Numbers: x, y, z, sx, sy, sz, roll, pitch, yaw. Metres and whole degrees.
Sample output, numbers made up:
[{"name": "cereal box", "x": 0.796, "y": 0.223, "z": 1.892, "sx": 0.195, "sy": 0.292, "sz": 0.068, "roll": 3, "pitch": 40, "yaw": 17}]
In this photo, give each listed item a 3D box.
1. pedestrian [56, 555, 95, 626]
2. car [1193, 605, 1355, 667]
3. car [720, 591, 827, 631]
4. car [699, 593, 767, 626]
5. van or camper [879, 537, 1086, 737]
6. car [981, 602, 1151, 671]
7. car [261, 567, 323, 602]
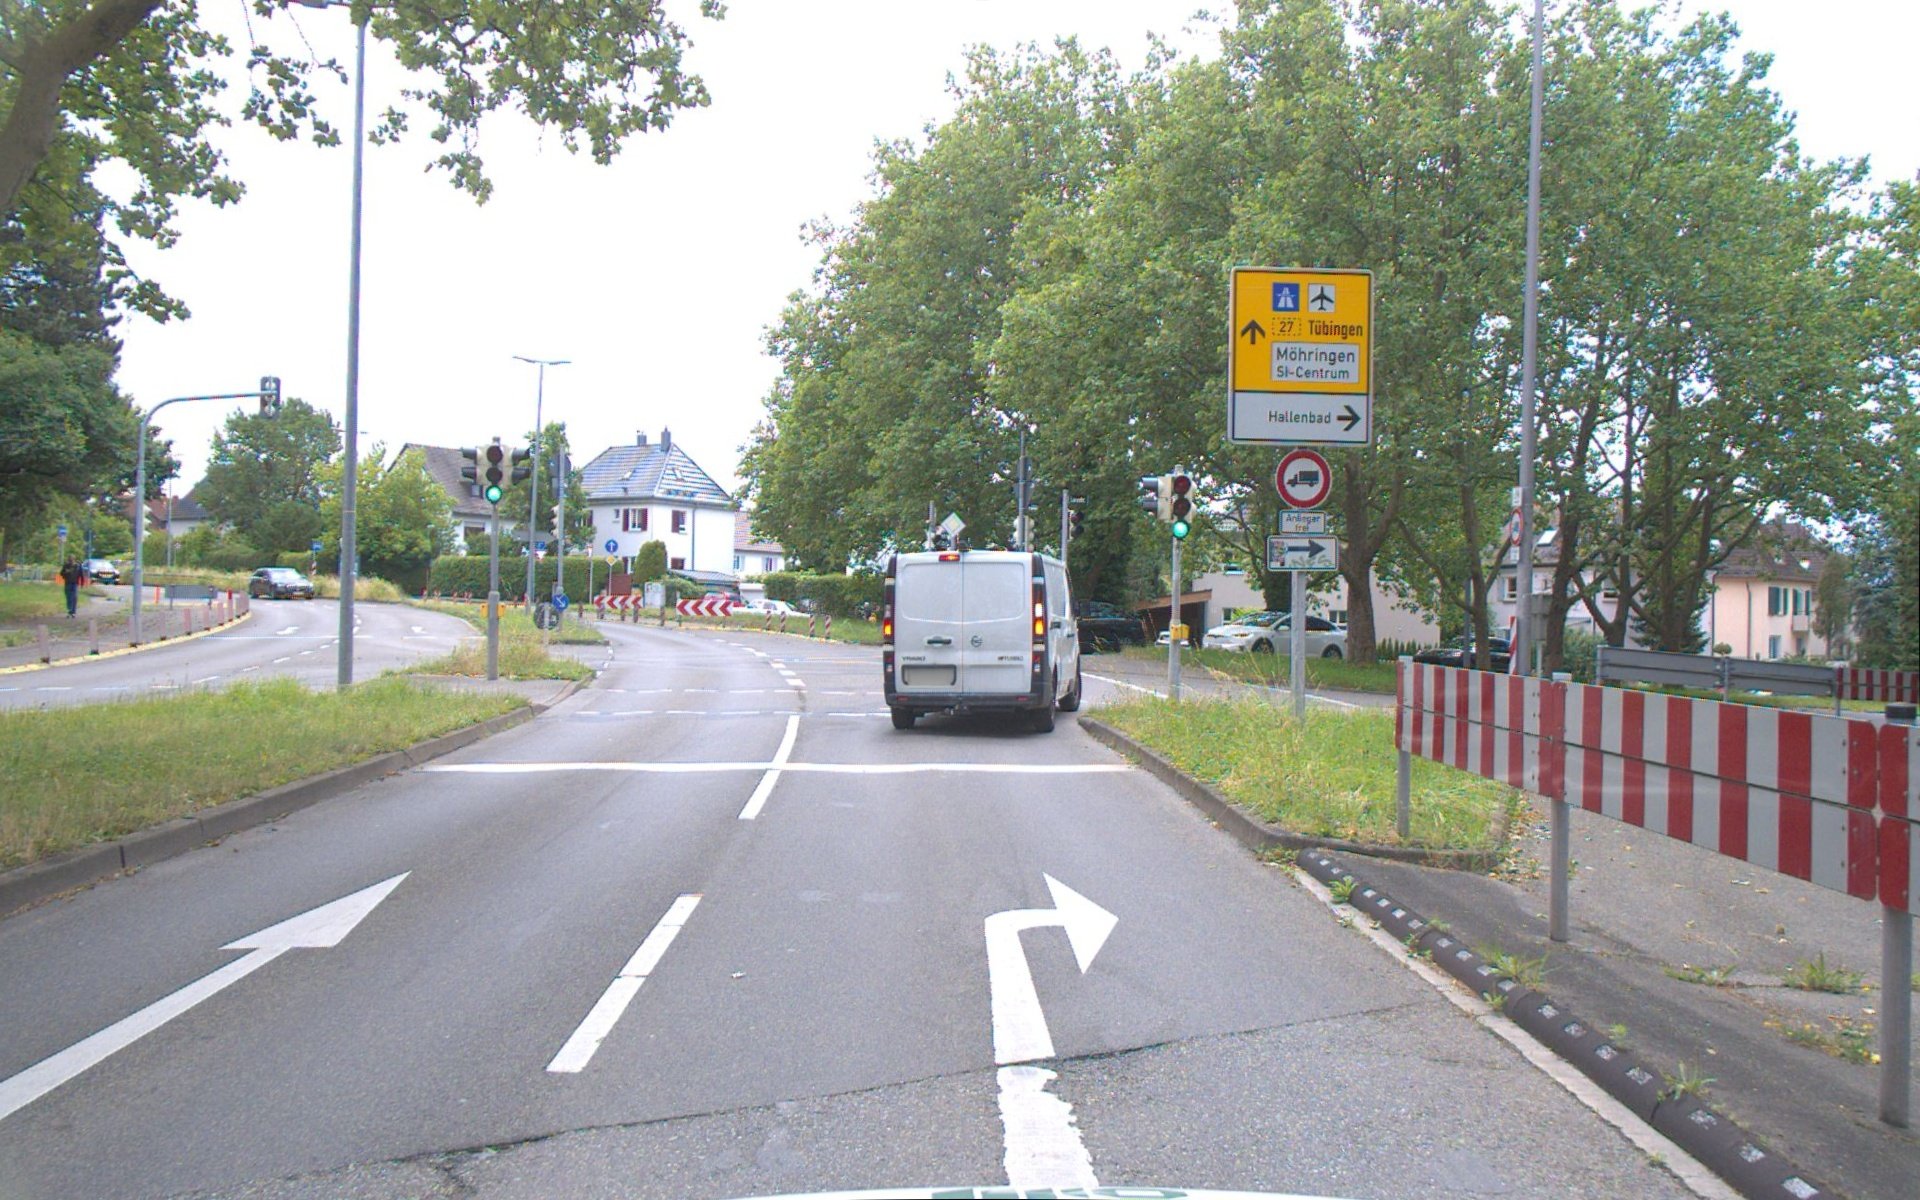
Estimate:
[{"name": "pedestrian", "x": -26.208, "y": -0.291, "z": 49.020, "sx": 0.938, "sy": 2.049, "sz": 0.847, "roll": 2, "pitch": 0, "yaw": -27}, {"name": "car", "x": 9.177, "y": 1.075, "z": 48.191, "sx": 4.853, "sy": 1.687, "sz": 1.833, "roll": 2, "pitch": 0, "yaw": -37}, {"name": "car", "x": -9.241, "y": 0.548, "z": 81.990, "sx": 4.769, "sy": 1.822, "sz": 2.216, "roll": 2, "pitch": 0, "yaw": 23}, {"name": "car", "x": -12.276, "y": 0.517, "z": 89.579, "sx": 1.575, "sy": 1.544, "sz": 3.816, "roll": 3, "pitch": -2, "yaw": 31}, {"name": "van or camper", "x": 0.415, "y": 0.390, "z": 19.774, "sx": 1.883, "sy": 2.049, "sz": 4.833, "roll": 2, "pitch": 0, "yaw": 7}, {"name": "car", "x": 2.824, "y": 0.977, "z": 43.679, "sx": 4.339, "sy": 1.544, "sz": 1.740, "roll": 5, "pitch": -2, "yaw": -37}, {"name": "car", "x": -32.221, "y": -0.775, "z": 79.680, "sx": 1.825, "sy": 1.660, "sz": 4.207, "roll": 0, "pitch": 1, "yaw": -36}]
